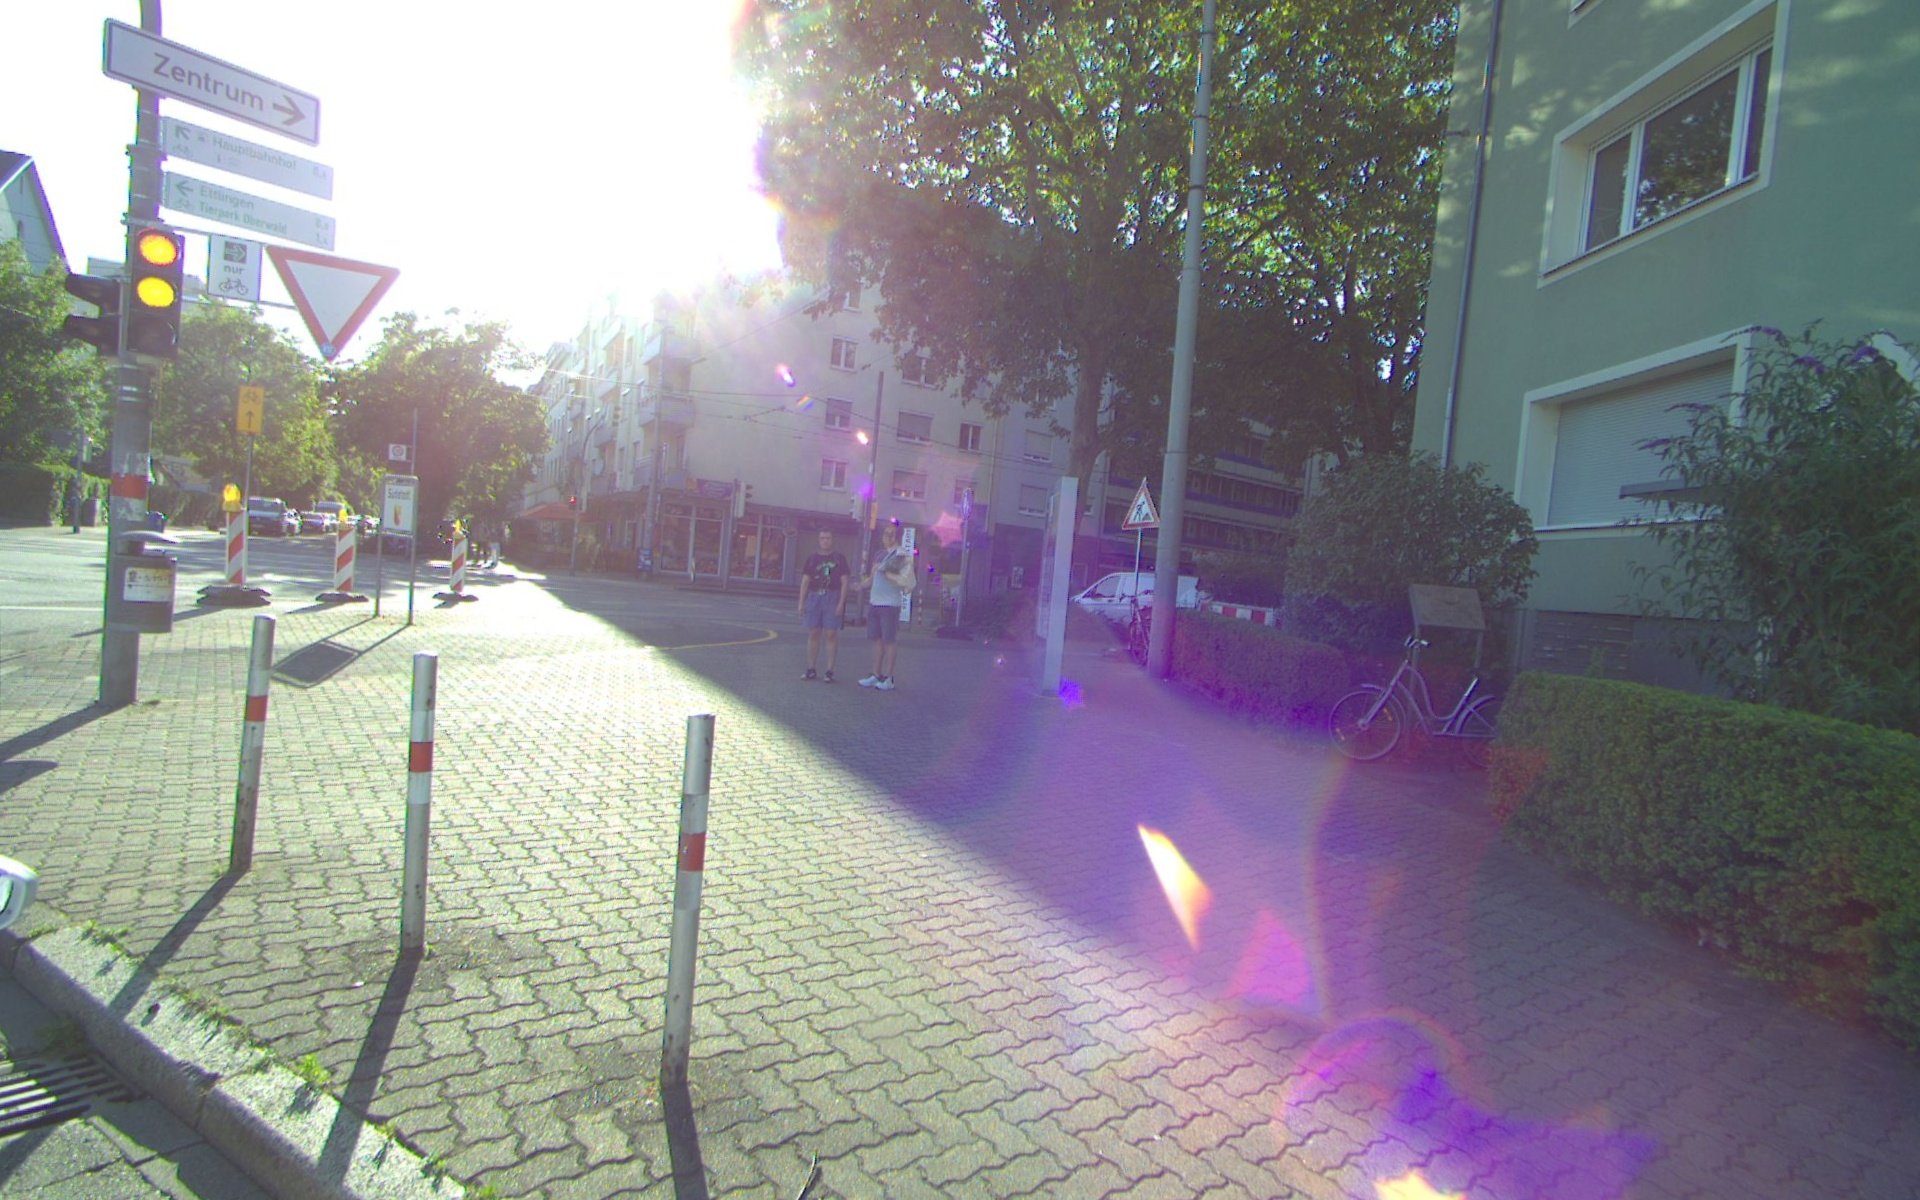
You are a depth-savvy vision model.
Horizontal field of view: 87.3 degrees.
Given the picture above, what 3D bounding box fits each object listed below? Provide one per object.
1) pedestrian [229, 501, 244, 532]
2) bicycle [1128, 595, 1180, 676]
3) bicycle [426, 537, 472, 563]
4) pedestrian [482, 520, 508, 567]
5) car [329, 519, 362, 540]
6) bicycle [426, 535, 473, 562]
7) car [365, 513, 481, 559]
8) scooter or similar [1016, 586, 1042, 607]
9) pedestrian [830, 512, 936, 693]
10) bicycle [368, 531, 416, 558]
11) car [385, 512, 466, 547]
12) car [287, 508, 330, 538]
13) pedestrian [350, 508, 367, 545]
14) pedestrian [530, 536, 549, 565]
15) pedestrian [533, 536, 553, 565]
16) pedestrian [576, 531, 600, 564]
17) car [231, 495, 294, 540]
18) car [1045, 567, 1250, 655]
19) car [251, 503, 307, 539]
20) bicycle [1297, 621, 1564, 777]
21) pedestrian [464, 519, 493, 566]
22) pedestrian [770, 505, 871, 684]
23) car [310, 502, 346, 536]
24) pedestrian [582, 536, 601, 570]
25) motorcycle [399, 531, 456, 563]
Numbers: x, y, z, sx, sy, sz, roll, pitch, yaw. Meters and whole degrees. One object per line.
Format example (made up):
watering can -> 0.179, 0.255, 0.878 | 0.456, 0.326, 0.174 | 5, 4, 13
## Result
pedestrian -> -42.568, -4.928, 59.199 | 0.575, 1.754, 0.602 | 4, 3, -34
bicycle -> 2.866, 0.493, 15.008 | 0.511, 1.071, 1.933 | 6, 1, 7
bicycle -> -21.973, -2.158, 43.283 | 1.708, 0.945, 0.557 | 5, 2, -29
pedestrian -> -18.576, -2.247, 40.173 | 0.682, 1.774, 0.792 | 5, 2, -13
car -> -61.536, -7.031, 100.812 | 2.333, 1.818, 5.271 | 5, 2, -28
bicycle -> -21.604, -2.181, 42.611 | 1.708, 0.945, 0.557 | 5, 2, -29
car -> -30.229, -3.569, 56.682 | 5.576, 1.948, 2.344 | 5, 0, -32
scooter or similar -> 3.570, -0.181, 52.133 | 1.421, 0.966, 0.462 | 4, 3, -44
pedestrian -> -0.791, 0.024, 10.526 | 0.680, 1.774, 0.794 | 6, 2, 21
bicycle -> -23.702, -2.324, 42.019 | 1.708, 0.945, 0.667 | 5, 2, -29
car -> -39.354, -5.132, 74.124 | 5.050, 1.948, 2.344 | 5, 0, -32
car -> -47.041, -5.557, 72.775 | 2.336, 1.818, 5.265 | 4, 2, -31
pedestrian -> -32.296, -3.940, 54.020 | 0.656, 1.863, 0.677 | 4, 3, -30
pedestrian -> -21.461, -2.516, 51.365 | 0.803, 1.381, 0.908 | 4, 2, -23
pedestrian -> -20.822, -2.477, 50.209 | 0.803, 1.381, 0.908 | 4, 2, -23
pedestrian -> -18.373, -2.589, 49.704 | 0.806, 1.565, 0.905 | 3, 3, -35
car -> -37.332, -4.382, 53.992 | 2.336, 2.040, 5.265 | 4, 2, -31
car -> 4.712, 0.222, 26.137 | 1.913, 1.849, 5.185 | 5, 0, -37
car -> -40.164, -4.662, 59.464 | 2.336, 1.818, 5.265 | 4, 2, -31
bicycle -> 3.955, 0.819, 8.554 | 1.897, 1.071, 0.521 | 6, 2, 5
pedestrian -> -19.473, -2.315, 40.700 | 0.706, 1.774, 0.793 | 5, 2, -7
pedestrian -> -1.474, -0.058, 10.729 | 0.680, 1.774, 0.794 | 6, 2, 13
car -> -54.393, -6.953, 86.641 | 2.336, 2.548, 5.265 | 4, 2, -31
pedestrian -> -17.958, -2.296, 49.032 | 0.472, 1.613, 0.615 | 8, 3, 45
motorcycle -> -21.642, -2.156, 40.888 | 1.938, 1.124, 0.829 | 4, 2, -34
